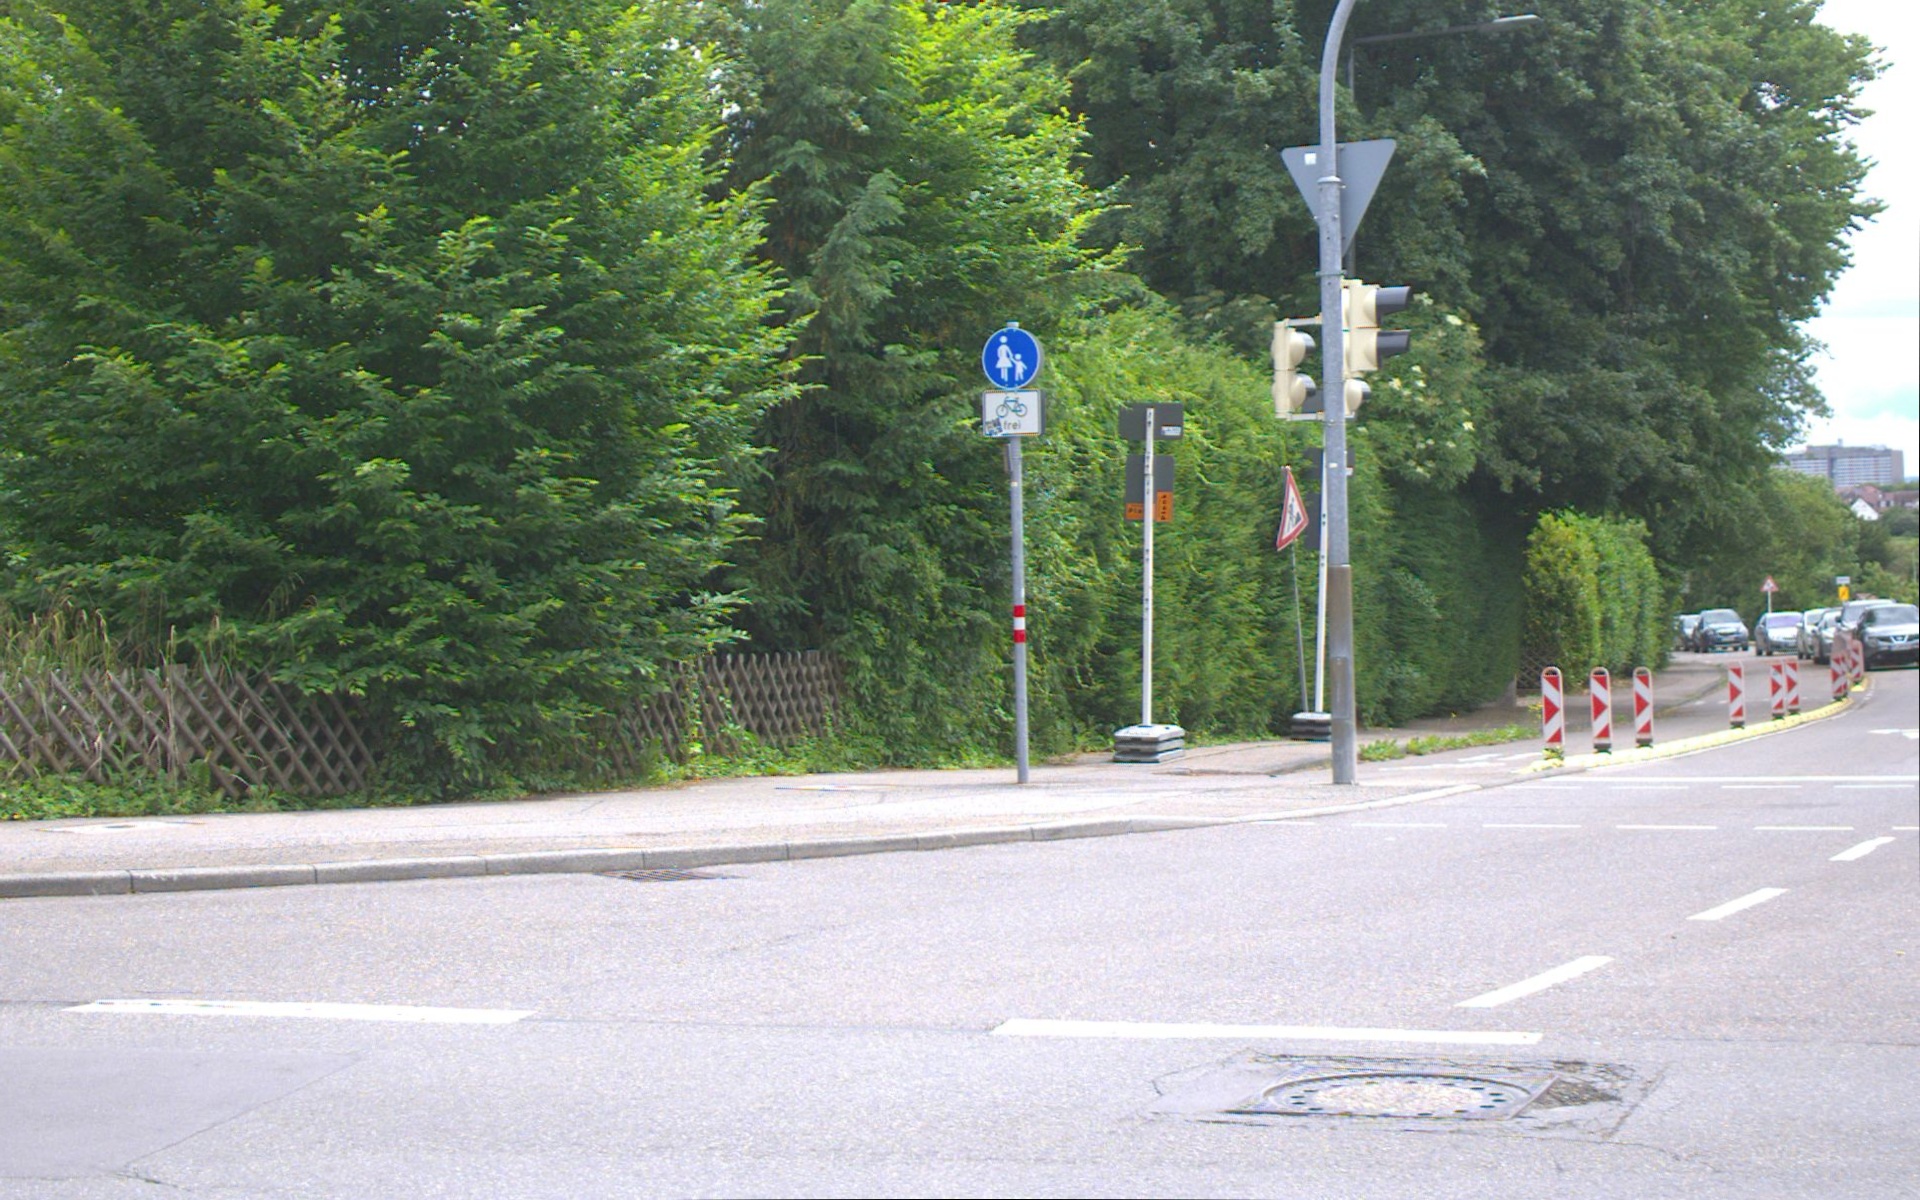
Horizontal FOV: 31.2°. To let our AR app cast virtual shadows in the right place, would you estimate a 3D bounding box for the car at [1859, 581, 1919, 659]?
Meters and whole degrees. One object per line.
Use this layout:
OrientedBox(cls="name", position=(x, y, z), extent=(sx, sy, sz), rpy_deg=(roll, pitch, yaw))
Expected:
OrientedBox(cls="car", position=(22.717, 0.460, 82.746), extent=(1.995, 1.744, 3.997), rpy_deg=(-1, 1, 15))
